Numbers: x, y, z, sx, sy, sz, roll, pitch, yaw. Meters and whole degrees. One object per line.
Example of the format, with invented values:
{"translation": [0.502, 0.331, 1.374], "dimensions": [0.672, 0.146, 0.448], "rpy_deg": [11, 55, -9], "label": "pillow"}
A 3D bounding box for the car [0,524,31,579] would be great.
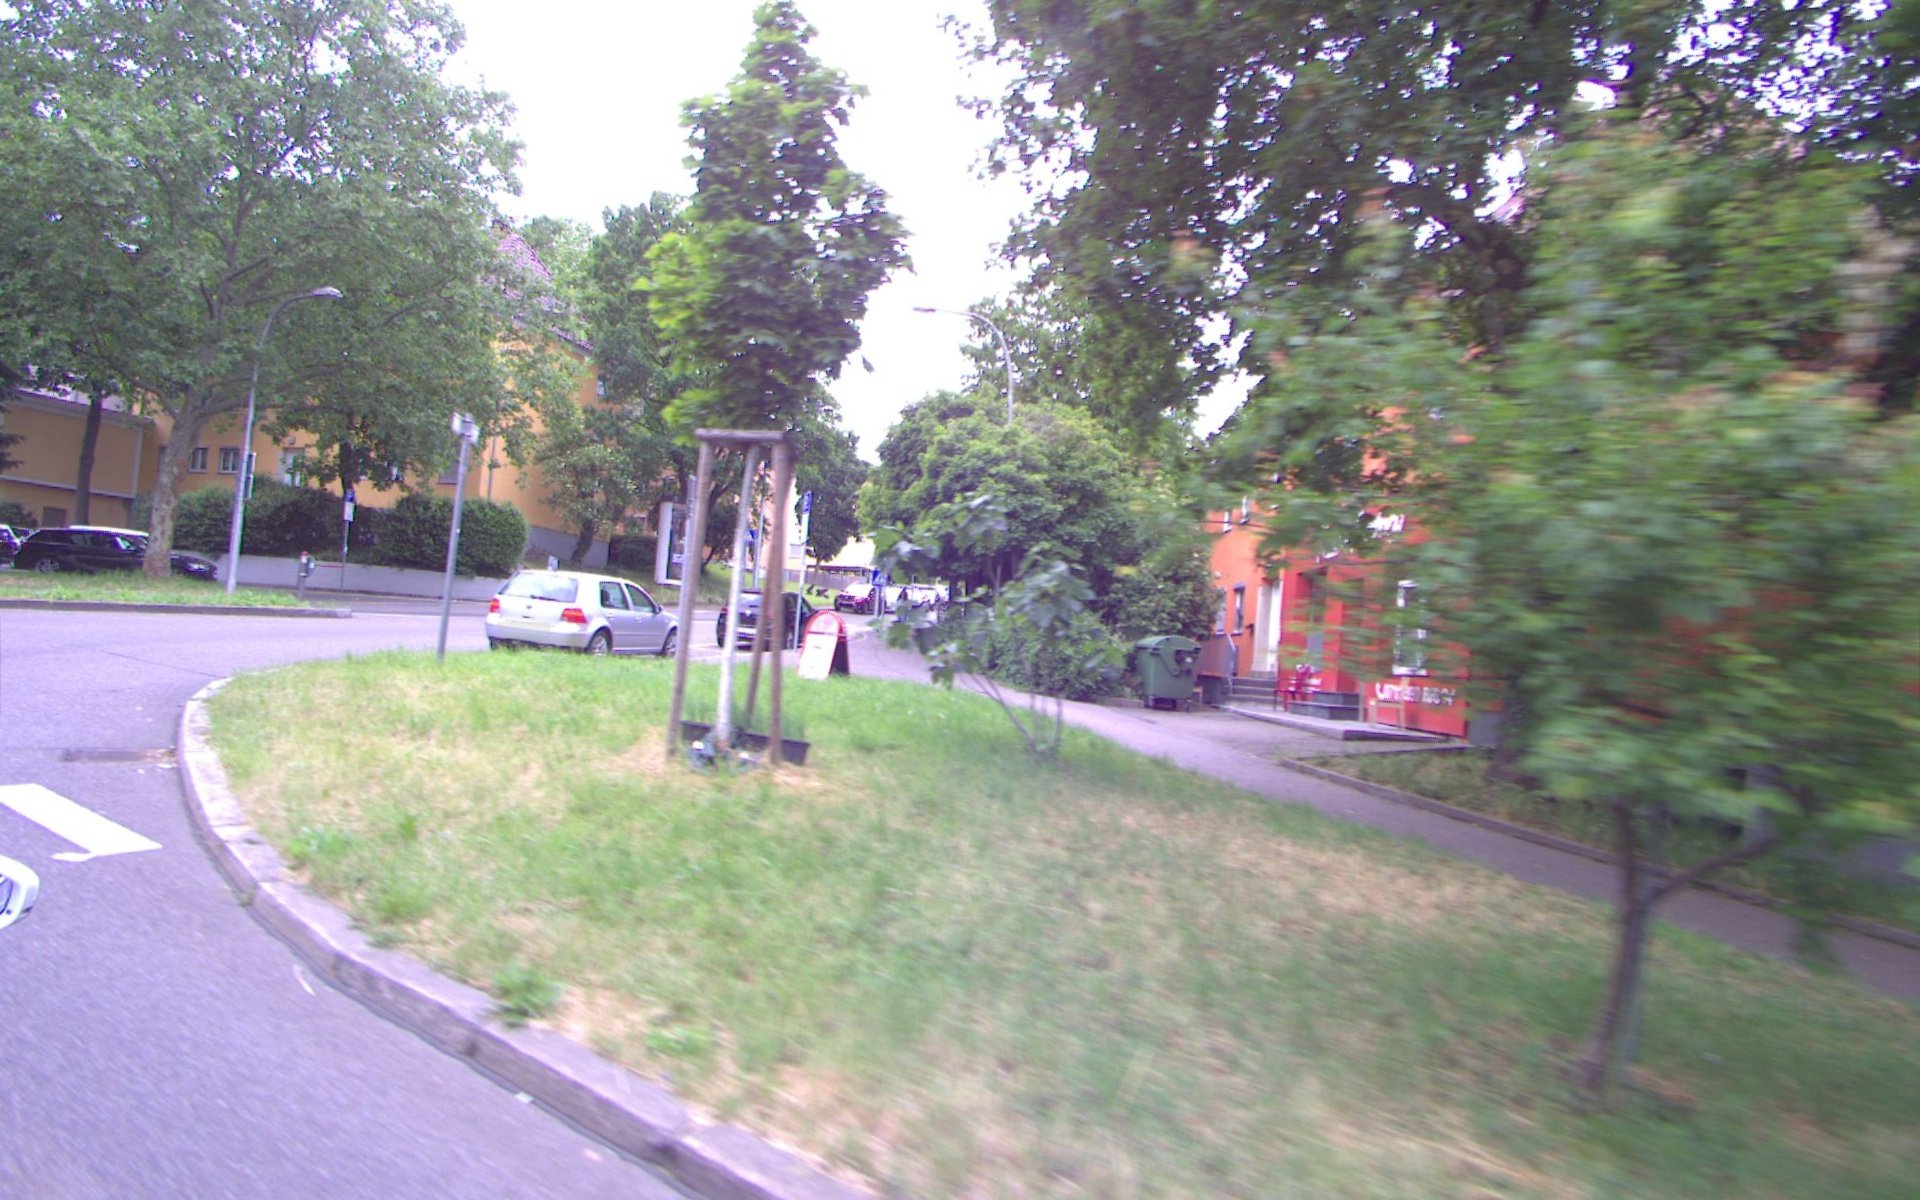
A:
{"translation": [-31.254, -1.681, 30.566], "dimensions": [4.810, 1.597, 2.002], "rpy_deg": [5, -1, 13], "label": "car"}

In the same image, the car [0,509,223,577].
{"translation": [-22.906, -1.523, 27.305], "dimensions": [4.366, 1.505, 1.850], "rpy_deg": [3, 2, -26], "label": "car"}

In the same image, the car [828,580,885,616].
{"translation": [-5.611, -0.077, 55.097], "dimensions": [1.912, 1.605, 4.004], "rpy_deg": [6, -1, 11], "label": "car"}

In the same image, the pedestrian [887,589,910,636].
{"translation": [-2.085, 0.435, 34.250], "dimensions": [0.664, 1.564, 0.493], "rpy_deg": [3, 1, -1], "label": "pedestrian"}

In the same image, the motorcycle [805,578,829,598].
{"translation": [-9.113, -0.784, 64.304], "dimensions": [1.339, 1.151, 0.619], "rpy_deg": [6, 1, 1], "label": "motorcycle"}

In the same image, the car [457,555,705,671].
{"translation": [-6.007, 0.237, 16.562], "dimensions": [1.827, 1.446, 4.132], "rpy_deg": [8, 0, 10], "label": "car"}

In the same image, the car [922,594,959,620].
{"translation": [-1.434, 0.574, 76.510], "dimensions": [1.912, 1.605, 4.004], "rpy_deg": [6, -1, 11], "label": "car"}

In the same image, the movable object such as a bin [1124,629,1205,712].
{"translation": [4.010, 1.361, 19.824], "dimensions": [1.219, 1.468, 1.082], "rpy_deg": [5, 0, -2], "label": "movable object such as a bin"}

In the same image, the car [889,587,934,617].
{"translation": [-3.071, 0.144, 65.006], "dimensions": [1.912, 1.605, 4.004], "rpy_deg": [6, -1, 11], "label": "car"}

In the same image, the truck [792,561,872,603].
{"translation": [-10.282, -1.444, 80.735], "dimensions": [5.886, 2.766, 2.000], "rpy_deg": [6, 0, 19], "label": "truck"}

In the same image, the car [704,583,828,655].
{"translation": [-4.632, 0.467, 24.667], "dimensions": [1.704, 1.446, 4.132], "rpy_deg": [5, 0, 7], "label": "car"}

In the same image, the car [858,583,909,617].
{"translation": [-4.489, 0.023, 59.900], "dimensions": [1.912, 1.605, 4.004], "rpy_deg": [6, -1, 11], "label": "car"}
